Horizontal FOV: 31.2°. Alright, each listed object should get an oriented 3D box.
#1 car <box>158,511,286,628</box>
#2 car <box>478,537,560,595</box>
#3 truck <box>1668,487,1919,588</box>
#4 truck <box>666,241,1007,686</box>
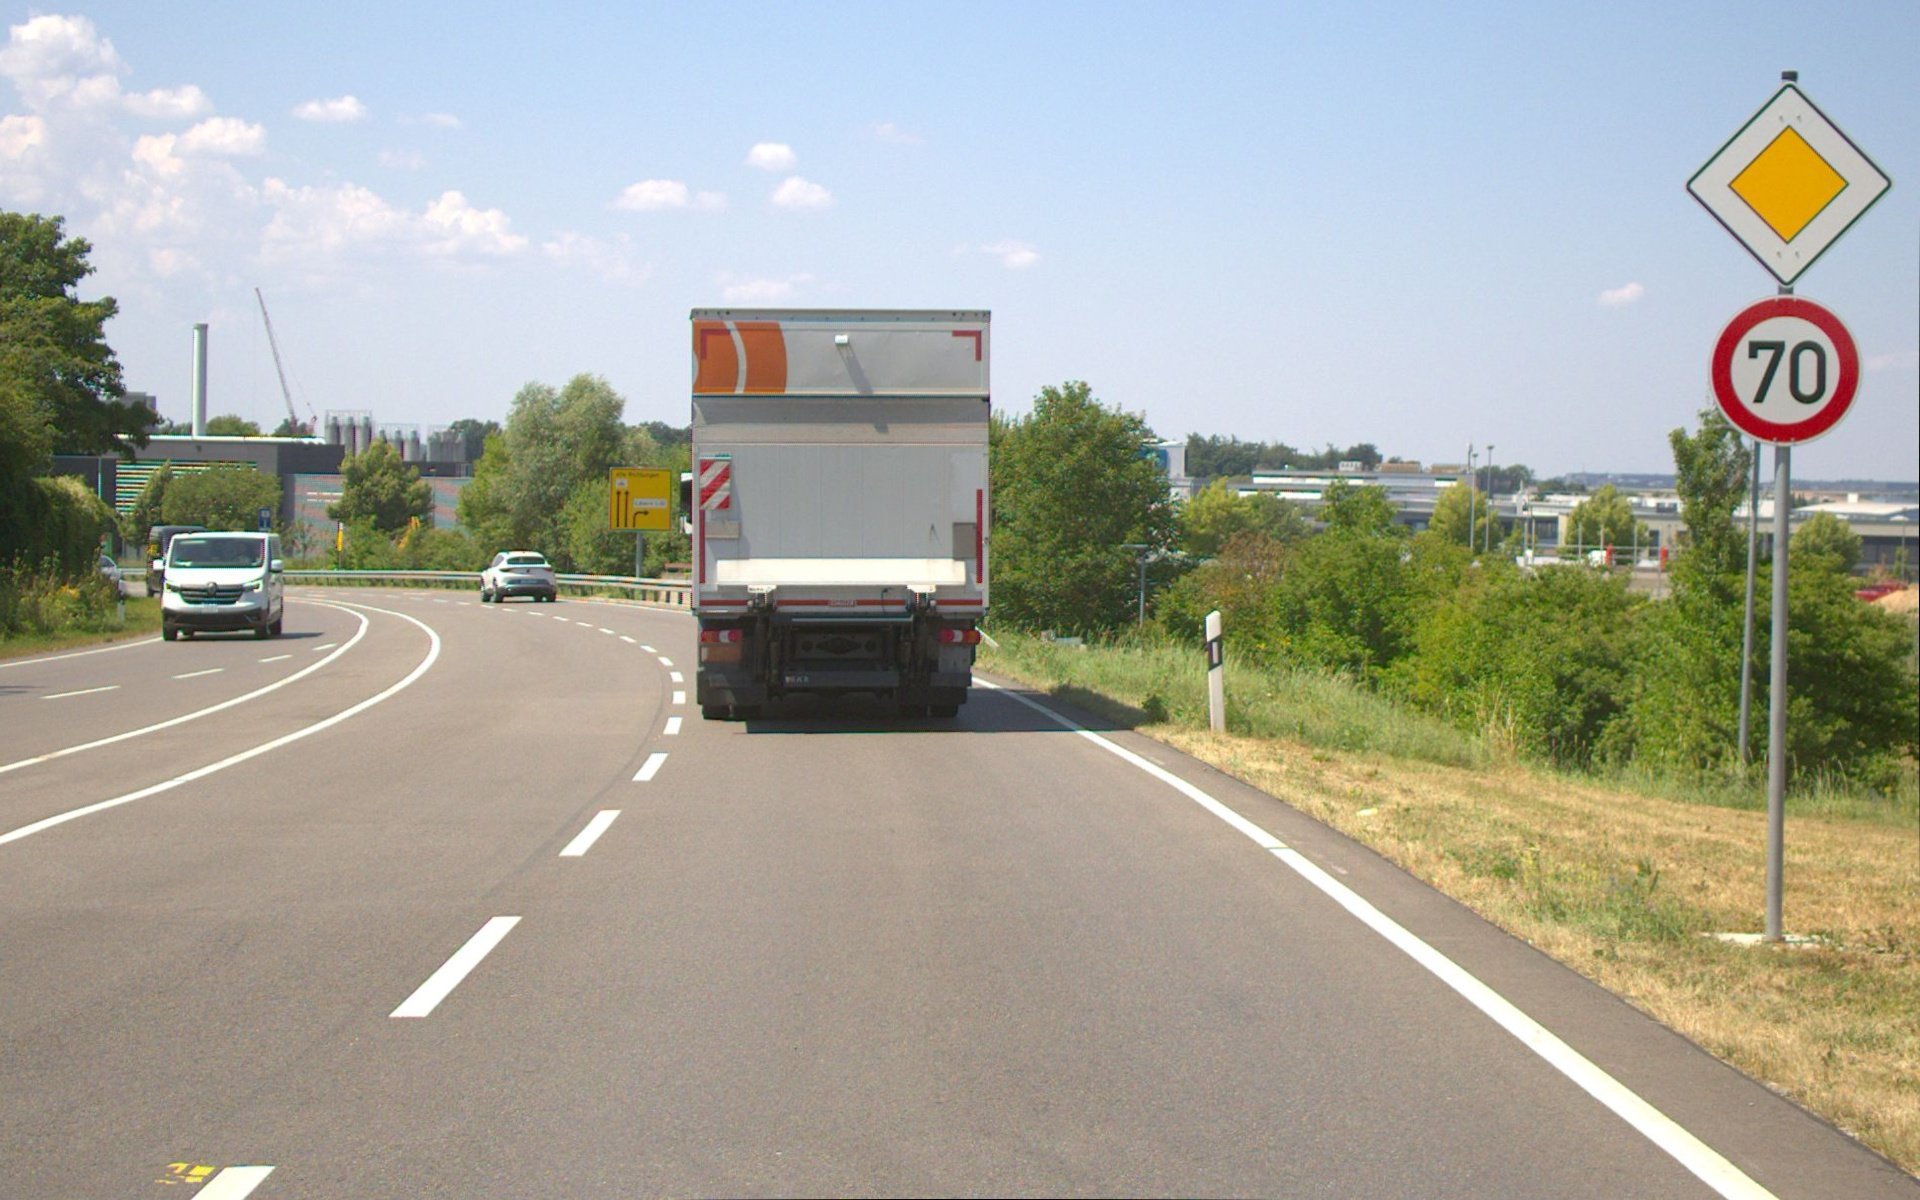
[{"bbox_3d":[-13.617,-0.611,63.691,2.075,2.006,5.809,-1,2,-10],"label":"car"},{"bbox_3d":[-13.134,-1.000,102.315,1.943,1.658,4.001,1,0,-14],"label":"car"},{"bbox_3d":[33.544,-2.550,138.139,9.402,3.671,3.127,3,3,27],"label":"truck"},{"bbox_3d":[-1.219,-1.312,33.490,2.803,3.698,9.109,-1,2,-2],"label":"truck"}]
